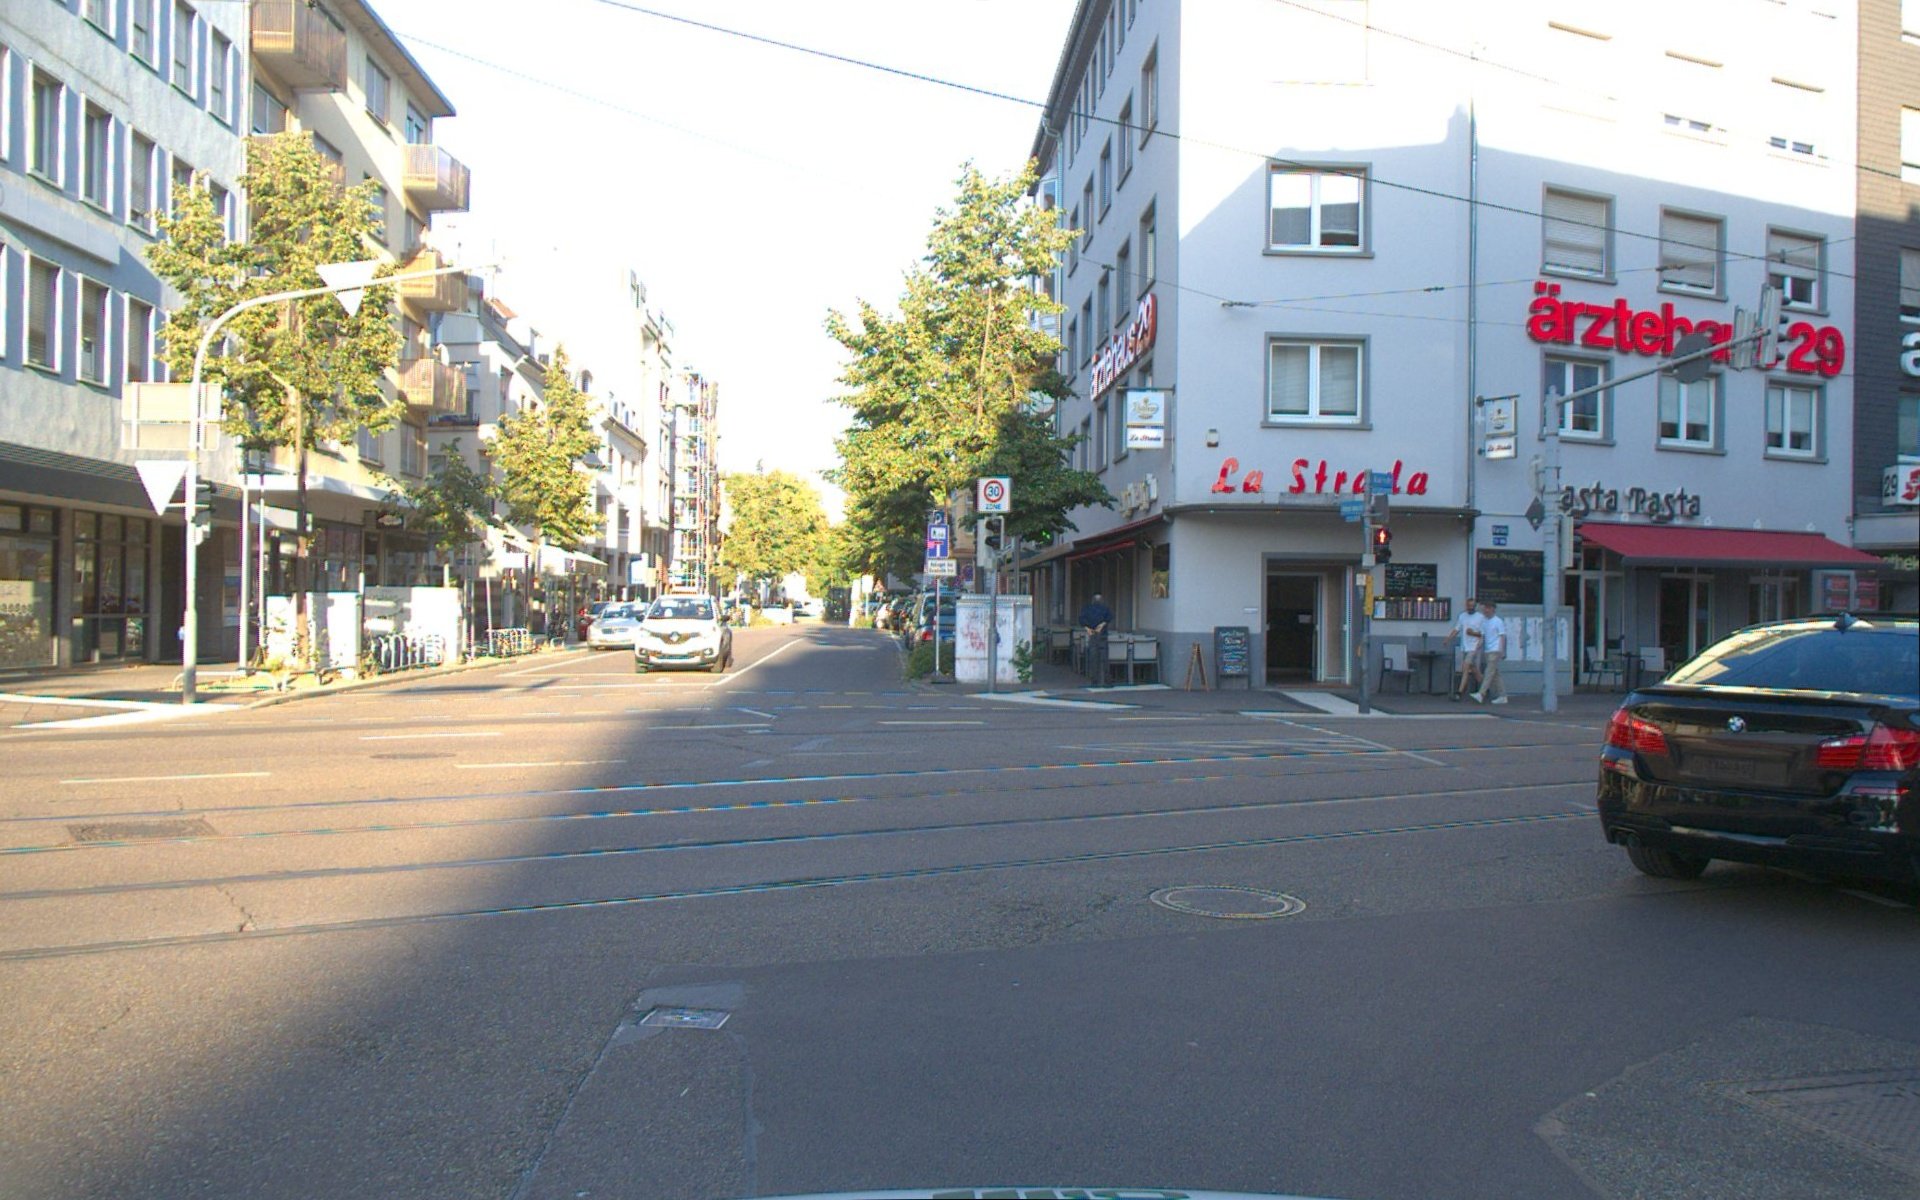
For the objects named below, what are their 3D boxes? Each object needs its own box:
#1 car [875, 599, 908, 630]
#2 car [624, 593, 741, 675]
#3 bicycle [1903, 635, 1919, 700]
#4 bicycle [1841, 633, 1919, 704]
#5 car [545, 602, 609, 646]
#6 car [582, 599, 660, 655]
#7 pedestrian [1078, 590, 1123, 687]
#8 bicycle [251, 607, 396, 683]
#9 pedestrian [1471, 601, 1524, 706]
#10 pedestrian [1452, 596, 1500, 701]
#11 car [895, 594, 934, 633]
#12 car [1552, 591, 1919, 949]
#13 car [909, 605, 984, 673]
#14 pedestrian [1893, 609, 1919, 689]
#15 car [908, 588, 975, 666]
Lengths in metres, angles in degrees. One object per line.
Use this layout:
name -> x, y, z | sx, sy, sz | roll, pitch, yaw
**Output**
car -> -4.189, 0.894, 101.512 | 1.814, 1.825, 3.999 | 1, 0, 0
car -> -5.730, 0.700, 34.566 | 2.066, 1.584, 4.008 | 0, -1, -5
bicycle -> 19.316, 1.361, 31.799 | 0.544, 1.245, 2.102 | 1, 2, -26
bicycle -> 17.876, 1.307, 31.575 | 0.544, 1.232, 1.882 | 1, 2, -26
car -> -14.322, 0.914, 61.976 | 1.798, 1.584, 3.776 | 0, -1, -5
car -> -10.144, 0.787, 49.708 | 1.798, 1.583, 3.776 | -1, 0, -5
pedestrian -> 2.530, 0.690, 29.879 | 0.697, 1.706, 0.703 | 1, -1, -4
bicycle -> -11.604, 0.818, 30.213 | 2.322, 1.275, 0.639 | 2, -1, -8
pedestrian -> 9.182, 0.905, 28.257 | 0.653, 1.775, 0.638 | 1, 0, -5
pedestrian -> 9.038, 0.842, 28.967 | 0.586, 1.810, 0.638 | 1, 0, -4
car -> -2.210, 0.661, 81.472 | 1.814, 1.825, 3.999 | 1, 0, 0
car -> 5.363, 0.790, 9.282 | 4.424, 1.524, 1.931 | 2, 0, -41
car -> -0.304, 0.858, 37.959 | 1.606, 1.469, 3.606 | 1, 0, 0
pedestrian -> 20.454, 1.039, 35.320 | 0.615, 1.690, 0.679 | 0, 0, -27
car -> -0.484, 0.676, 44.477 | 1.607, 1.906, 3.606 | 4, 0, 0
